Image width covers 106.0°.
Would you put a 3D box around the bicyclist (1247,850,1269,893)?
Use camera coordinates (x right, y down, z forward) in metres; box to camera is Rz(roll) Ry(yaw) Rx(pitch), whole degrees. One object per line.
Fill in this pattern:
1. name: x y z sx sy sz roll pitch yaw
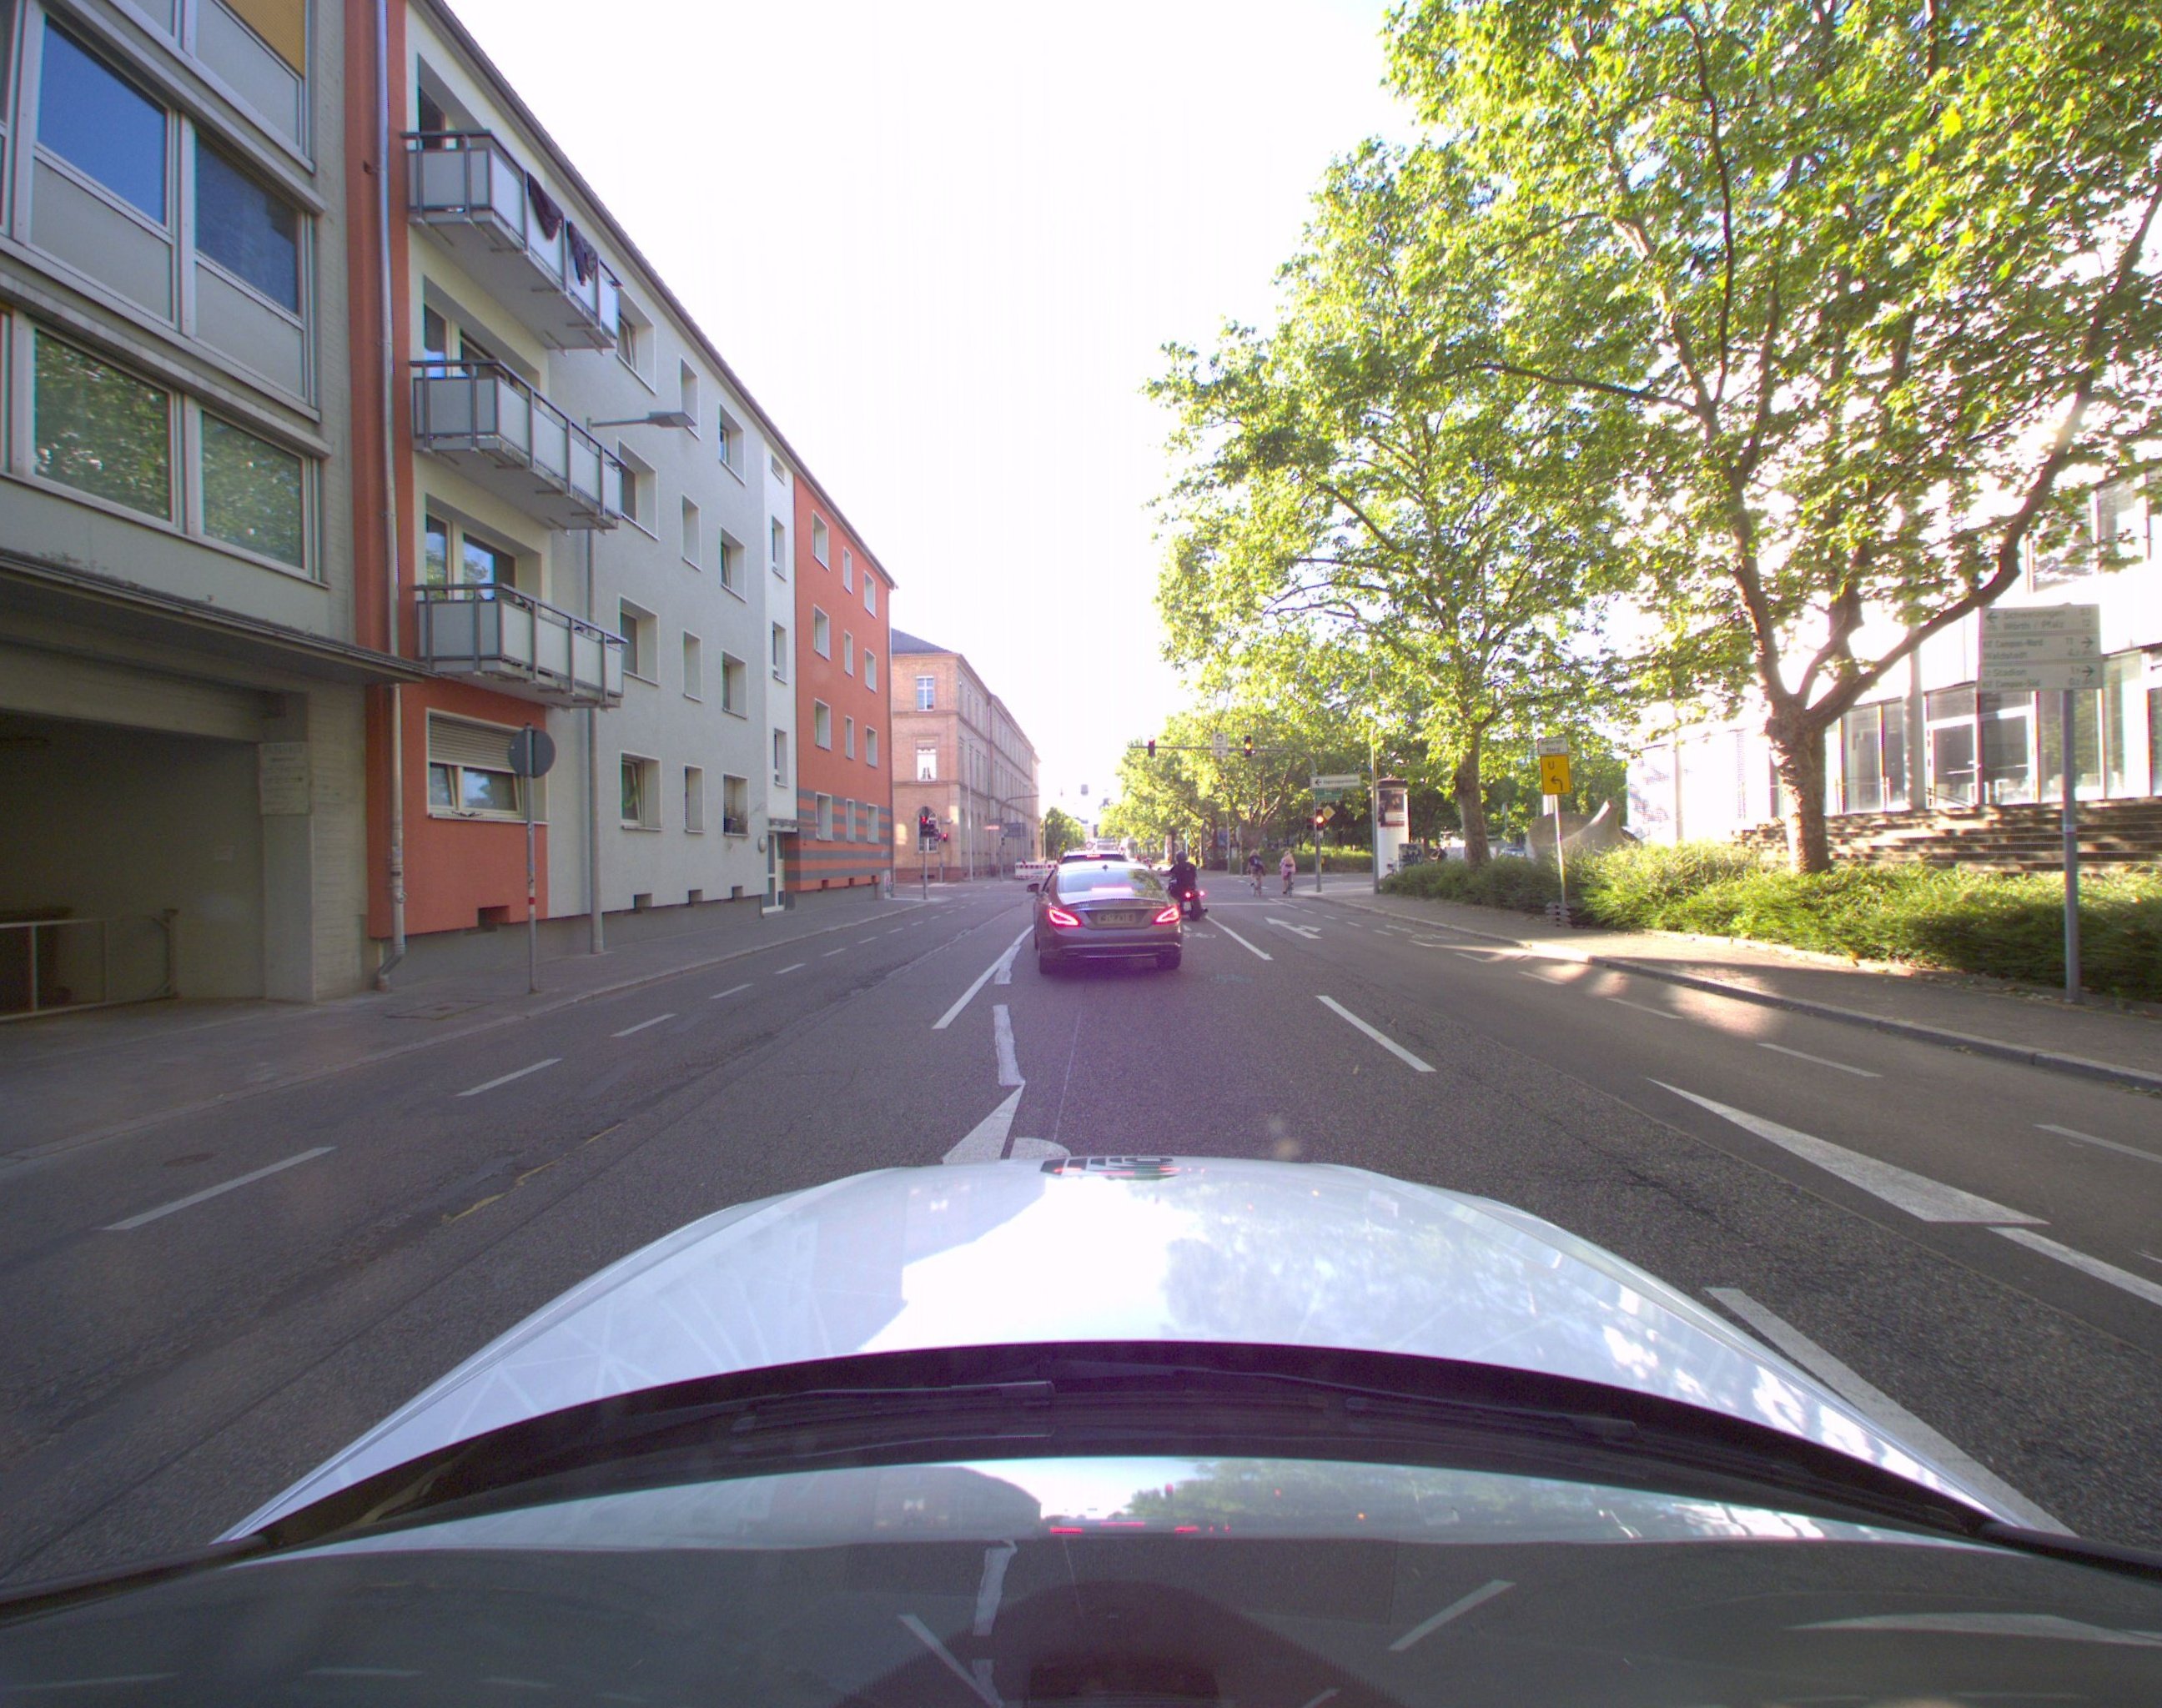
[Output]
1. bicyclist: 6.340 0.601 29.188 0.608 1.516 0.890 0 0 2

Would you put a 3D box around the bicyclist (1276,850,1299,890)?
1. bicyclist: 7.368 0.546 29.041 0.598 1.402 0.931 1 0 2

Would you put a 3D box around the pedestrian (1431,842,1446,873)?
1. pedestrian: 21.024 0.206 47.926 0.617 1.784 0.631 -1 0 4

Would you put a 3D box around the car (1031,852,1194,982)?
1. car: 0.245 0.746 11.763 1.818 1.476 4.346 -1 0 -5

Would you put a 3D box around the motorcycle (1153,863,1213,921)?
1. motorcycle: 2.352 0.849 19.181 1.004 1.204 2.663 -1 0 -2

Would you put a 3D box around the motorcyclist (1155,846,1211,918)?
1. motorcyclist: 2.395 0.644 19.266 1.110 1.613 1.201 -1 0 -2

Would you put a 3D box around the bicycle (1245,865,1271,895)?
1. bicycle: 6.342 0.910 29.316 0.608 1.026 1.732 0 0 2

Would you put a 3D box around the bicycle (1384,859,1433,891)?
1. bicycle: 10.980 0.708 27.341 1.411 1.037 0.538 -1 0 -2

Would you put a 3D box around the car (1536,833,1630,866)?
1. car: 28.013 -0.244 45.532 3.975 1.784 2.004 -1 0 7

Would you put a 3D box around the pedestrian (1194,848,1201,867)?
1. pedestrian: 10.422 0.341 72.875 0.557 1.678 0.565 -1 0 1

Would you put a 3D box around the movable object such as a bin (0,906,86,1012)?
1. movable object such as a bin: -11.297 1.097 8.638 0.584 1.040 0.712 -1 0 2

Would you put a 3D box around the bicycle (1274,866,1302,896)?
1. bicycle: 7.366 0.941 29.039 0.598 0.985 1.882 1 0 2

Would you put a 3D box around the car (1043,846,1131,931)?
1. car: 0.146 0.676 17.780 1.676 1.625 3.841 -1 0 1
